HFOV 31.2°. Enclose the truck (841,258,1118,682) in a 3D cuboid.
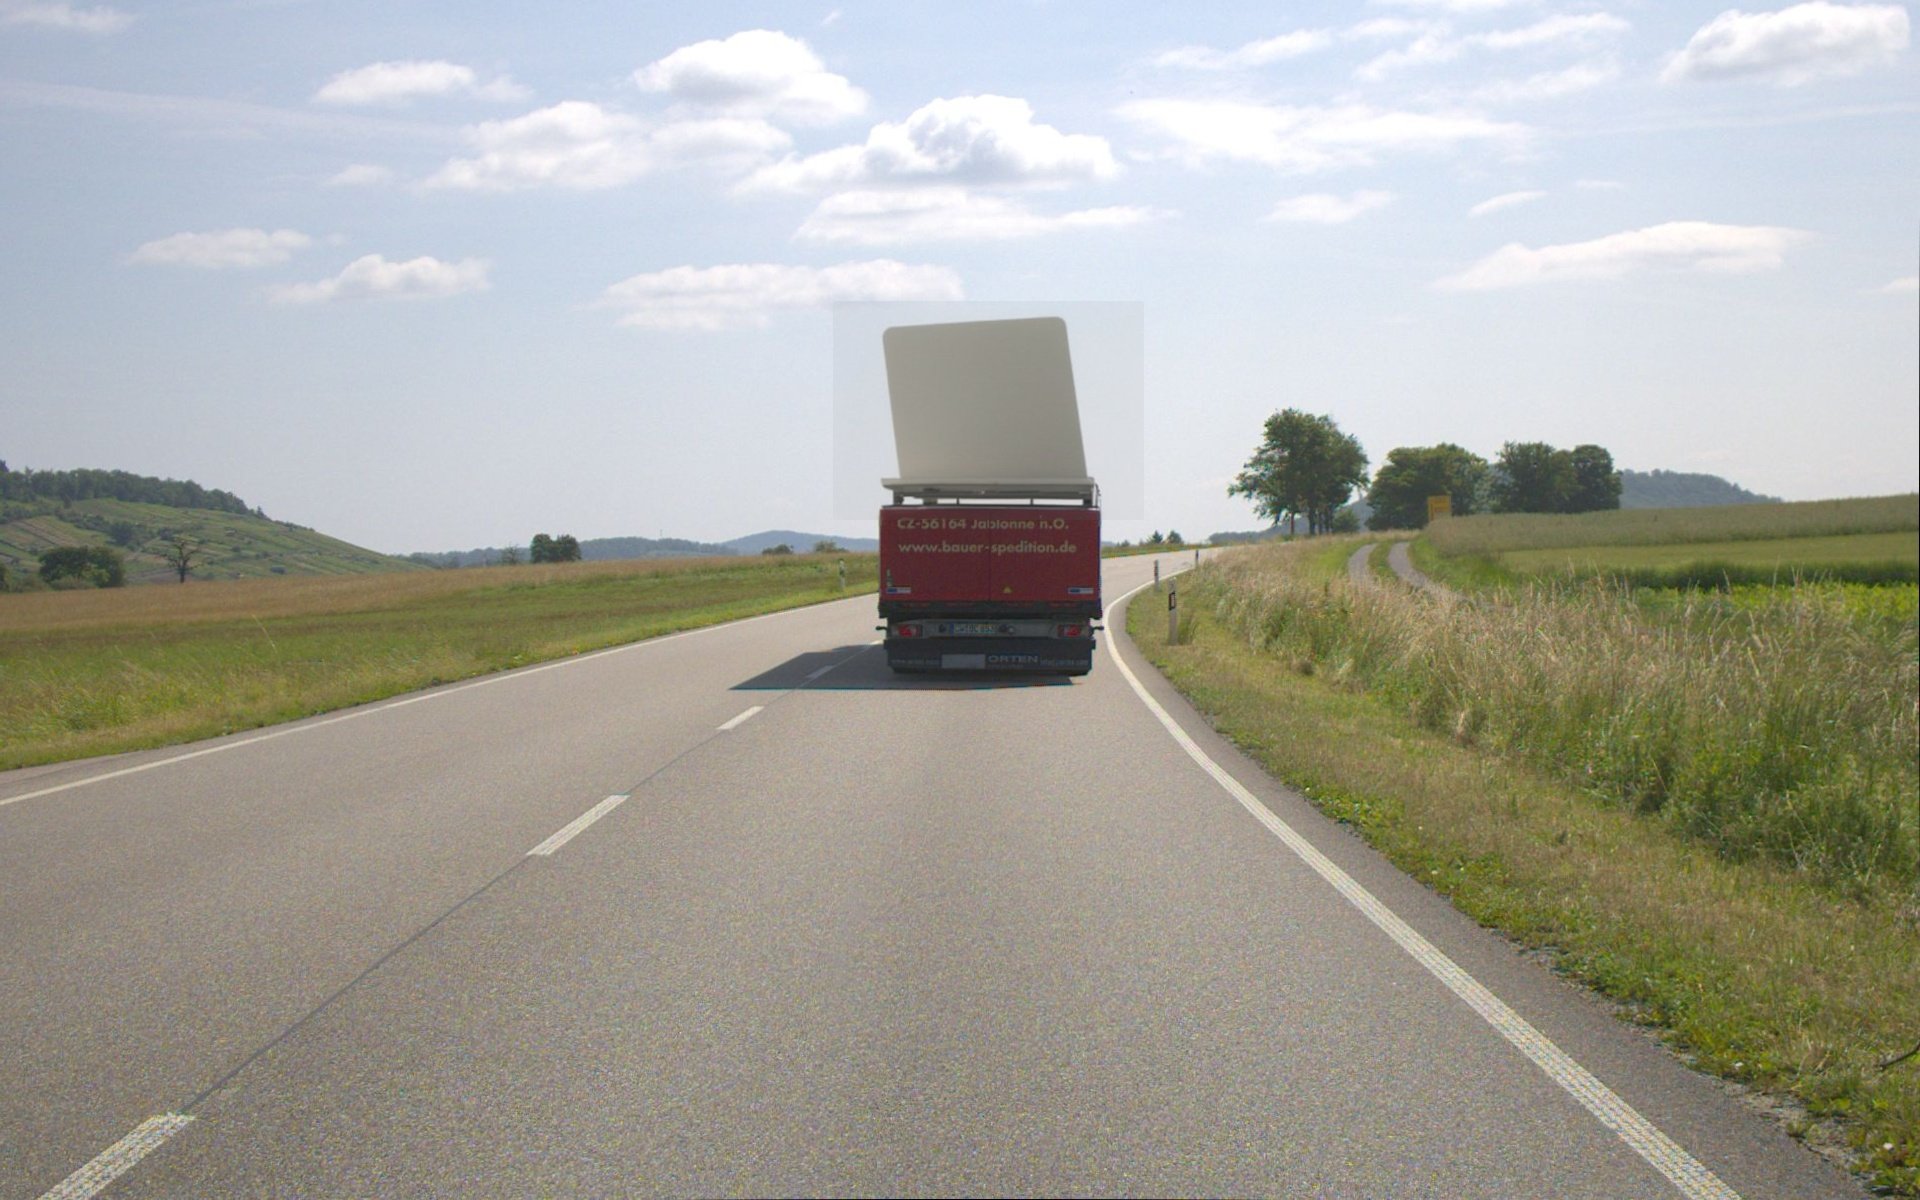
[{"bbox_3d":[0.218,-1.526,43.543,2.975,4.697,9.366,2,1,0],"label":"truck"}]
